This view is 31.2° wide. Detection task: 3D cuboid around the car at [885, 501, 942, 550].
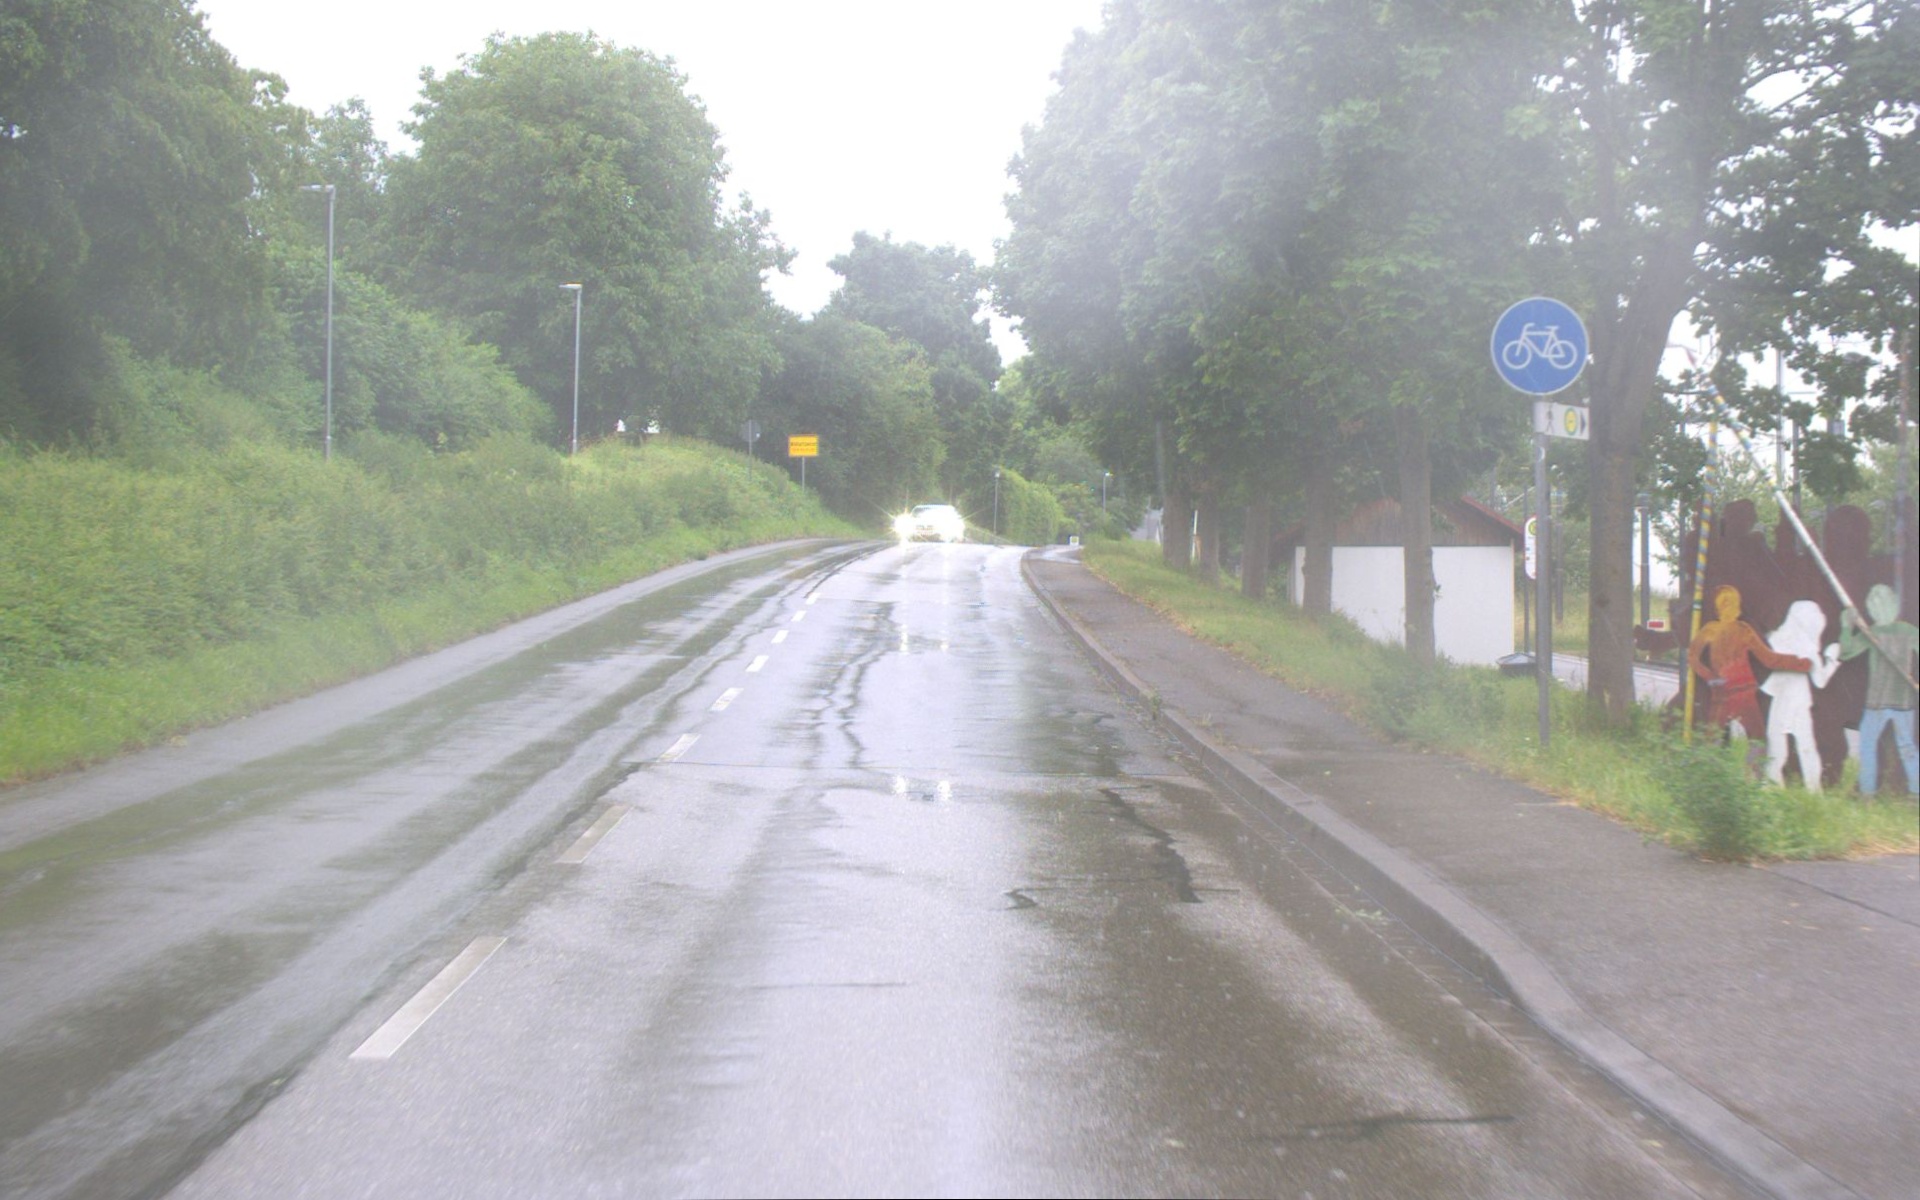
[{"bbox_3d":[-1.548,-2.536,115.930,1.781,1.499,4.001,1,3,1],"label":"car"}]
